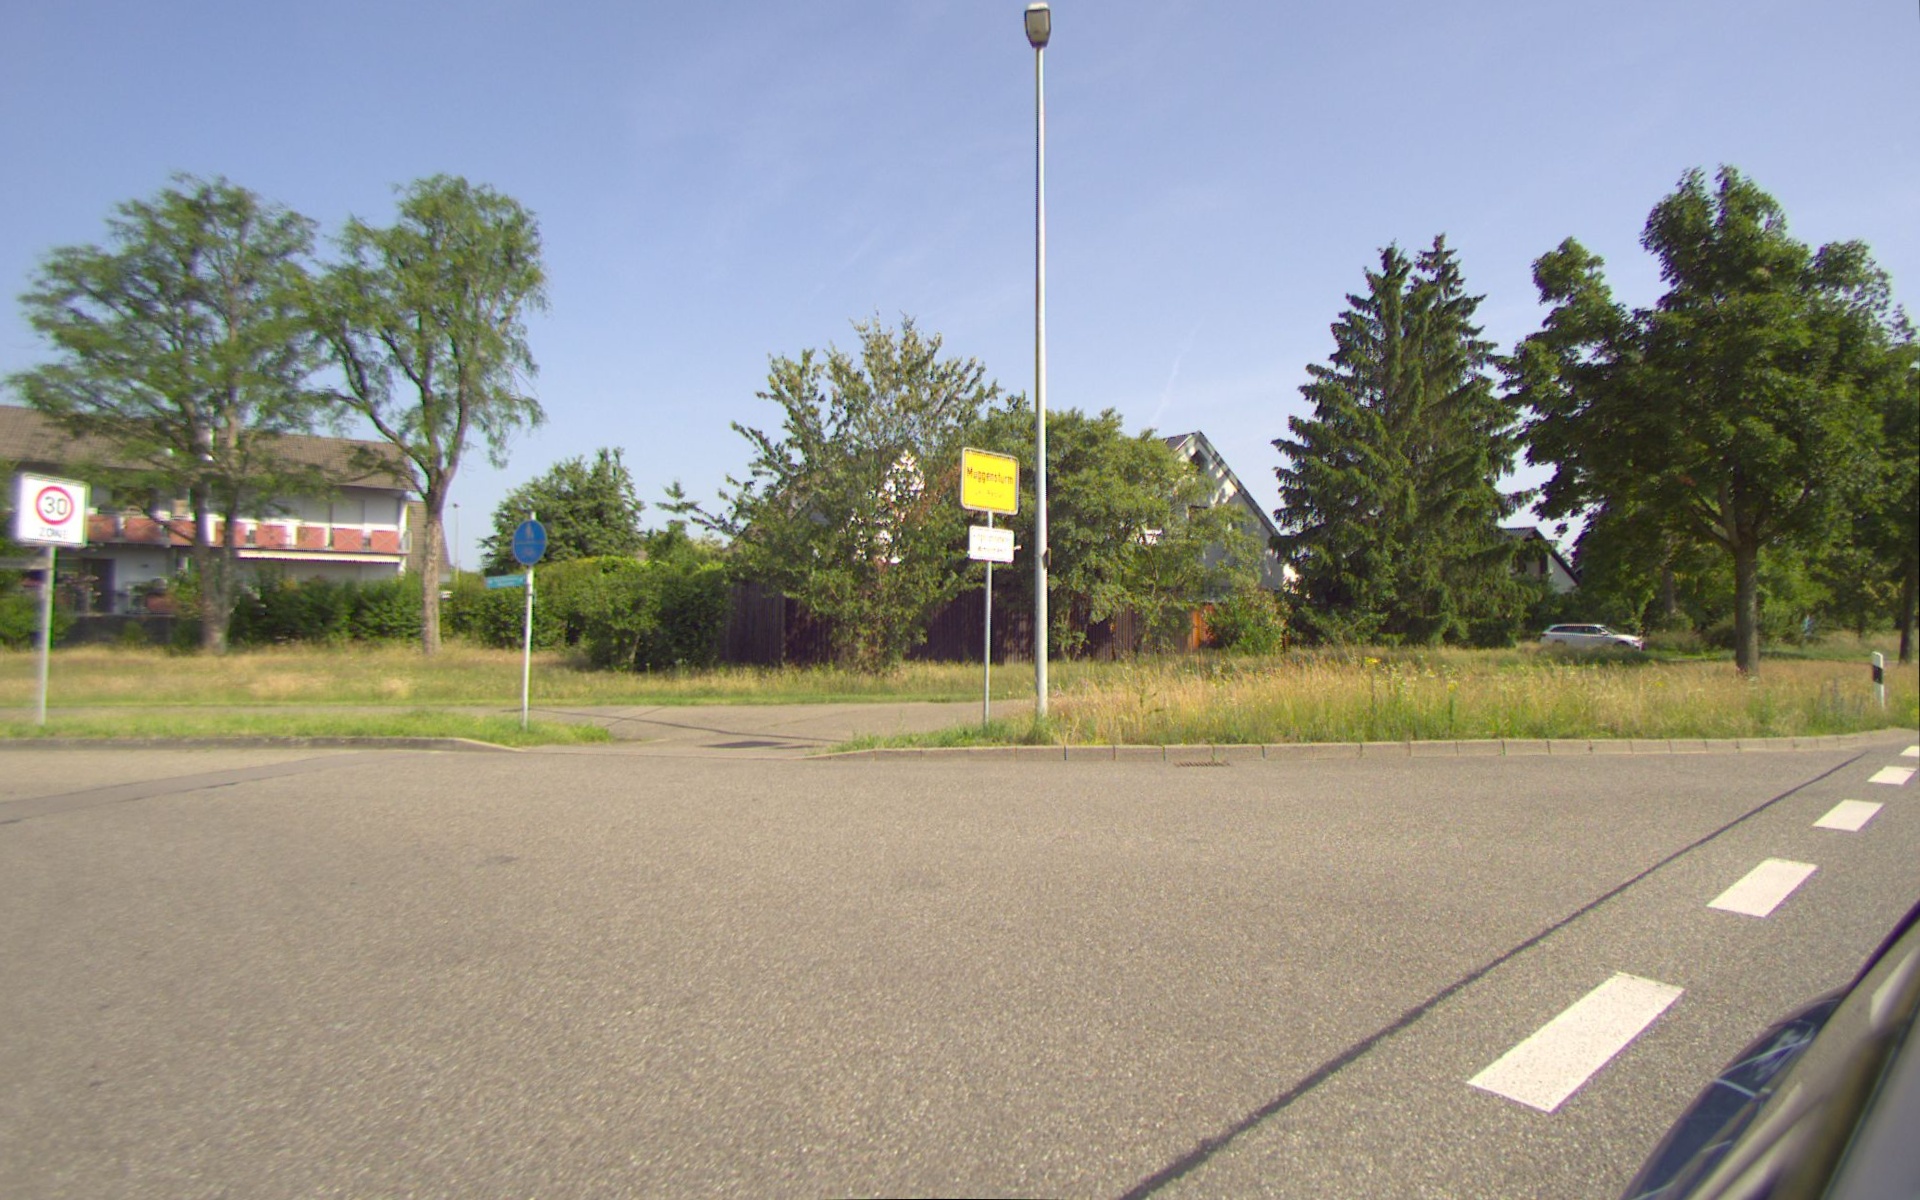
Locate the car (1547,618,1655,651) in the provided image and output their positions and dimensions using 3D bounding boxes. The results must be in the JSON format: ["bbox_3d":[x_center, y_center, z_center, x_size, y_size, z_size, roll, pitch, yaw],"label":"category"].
[{"bbox_3d":[30.595,1.615,48.372,1.783,1.452,3.994,1,-1,-40],"label":"car"}]
